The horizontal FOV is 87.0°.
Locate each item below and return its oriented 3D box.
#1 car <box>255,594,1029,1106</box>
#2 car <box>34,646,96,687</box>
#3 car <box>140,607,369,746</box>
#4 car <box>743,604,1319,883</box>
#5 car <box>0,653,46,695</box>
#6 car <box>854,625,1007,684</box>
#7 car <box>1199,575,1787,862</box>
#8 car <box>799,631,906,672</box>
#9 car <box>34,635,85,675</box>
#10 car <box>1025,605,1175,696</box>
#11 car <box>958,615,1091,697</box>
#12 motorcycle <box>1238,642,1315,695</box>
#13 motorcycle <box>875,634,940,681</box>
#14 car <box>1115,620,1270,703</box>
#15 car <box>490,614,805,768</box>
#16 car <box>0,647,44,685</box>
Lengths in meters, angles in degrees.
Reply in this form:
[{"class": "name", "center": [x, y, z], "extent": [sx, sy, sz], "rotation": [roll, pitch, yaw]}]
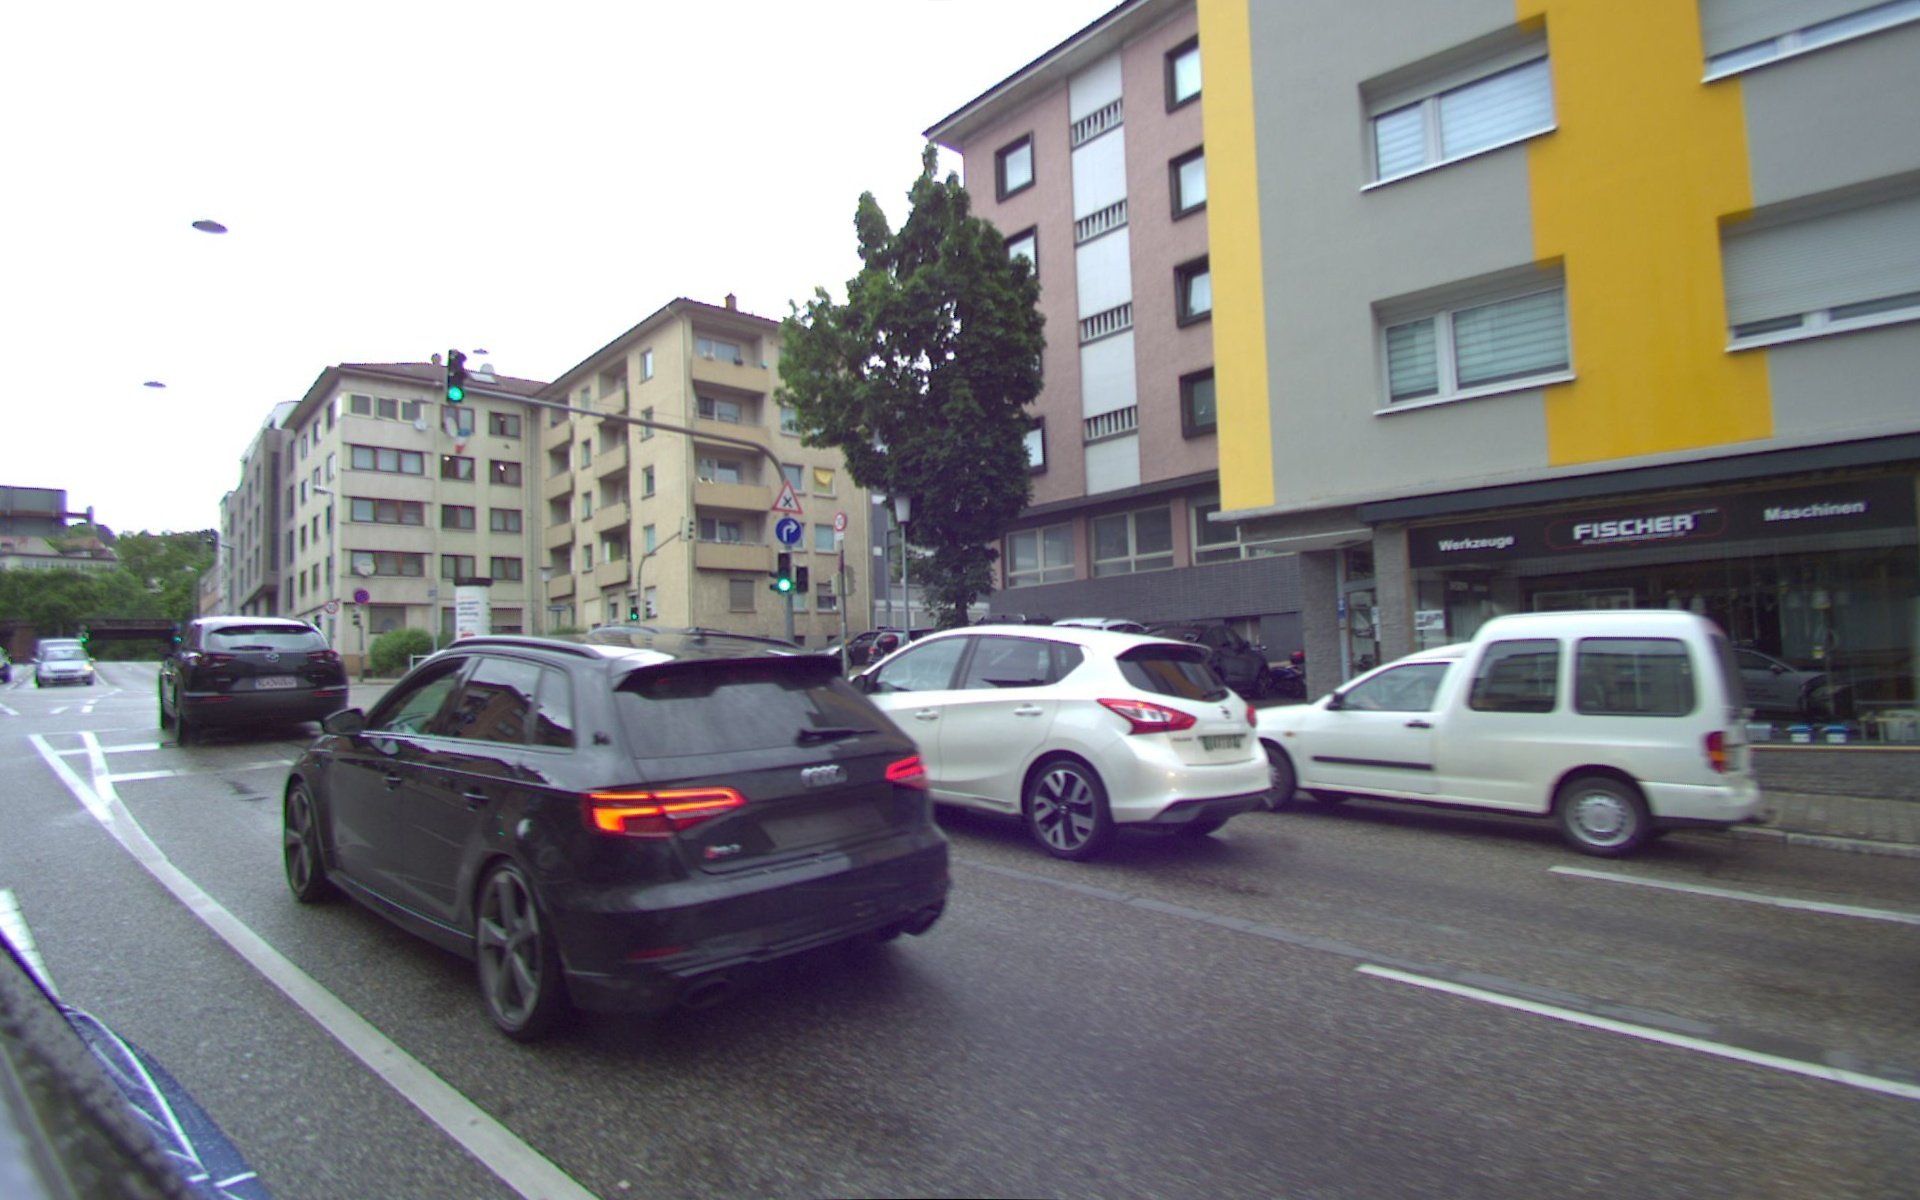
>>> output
[{"class": "car", "center": [-1.906, 0.750, 5.017], "extent": [4.380, 1.425, 1.786], "rotation": [-1, -2, 44]}, {"class": "car", "center": [-36.716, 2.720, 41.582], "extent": [1.812, 1.566, 4.006], "rotation": [1, -3, -41]}, {"class": "car", "center": [-9.549, 0.888, 13.541], "extent": [1.798, 1.548, 4.382], "rotation": [2, -2, -44]}, {"class": "car", "center": [0.275, 0.924, 7.862], "extent": [1.786, 1.554, 4.381], "rotation": [2, -4, -44]}, {"class": "car", "center": [-44.759, 3.555, 48.222], "extent": [1.767, 1.741, 4.004], "rotation": [0, -5, -42]}, {"class": "car", "center": [-0.723, 1.397, 26.788], "extent": [3.941, 1.370, 1.739], "rotation": [0, -1, -45]}, {"class": "car", "center": [4.280, 0.877, 8.548], "extent": [4.061, 1.844, 1.708], "rotation": [-1, -7, 44]}, {"class": "car", "center": [-4.249, 2.049, 40.449], "extent": [4.011, 1.492, 1.734], "rotation": [2, -6, -44]}, {"class": "car", "center": [-49.901, 3.083, 56.159], "extent": [1.913, 1.930, 4.863], "rotation": [-1, -4, -40]}, {"class": "car", "center": [3.202, 1.087, 22.472], "extent": [1.855, 1.807, 3.957], "rotation": [0, -2, 31]}, {"class": "car", "center": [1.646, 1.247, 24.186], "extent": [1.763, 1.741, 4.310], "rotation": [1, -1, 25]}, {"class": "motorcycle", "center": [7.213, 1.572, 23.109], "extent": [1.524, 1.098, 0.478], "rotation": [-7, -5, 41]}, {"class": "motorcycle", "center": [-1.224, 1.346, 23.893], "extent": [0.453, 1.040, 1.771], "rotation": [-3, -3, 39]}, {"class": "car", "center": [4.884, 1.177, 20.873], "extent": [1.856, 1.507, 3.954], "rotation": [0, -1, 33]}, {"class": "car", "center": [-3.877, 1.010, 12.073], "extent": [1.798, 1.489, 4.381], "rotation": [2, -4, -44]}, {"class": "car", "center": [-40.900, 2.848, 43.729], "extent": [1.812, 1.566, 4.006], "rotation": [1, -3, -41]}]
